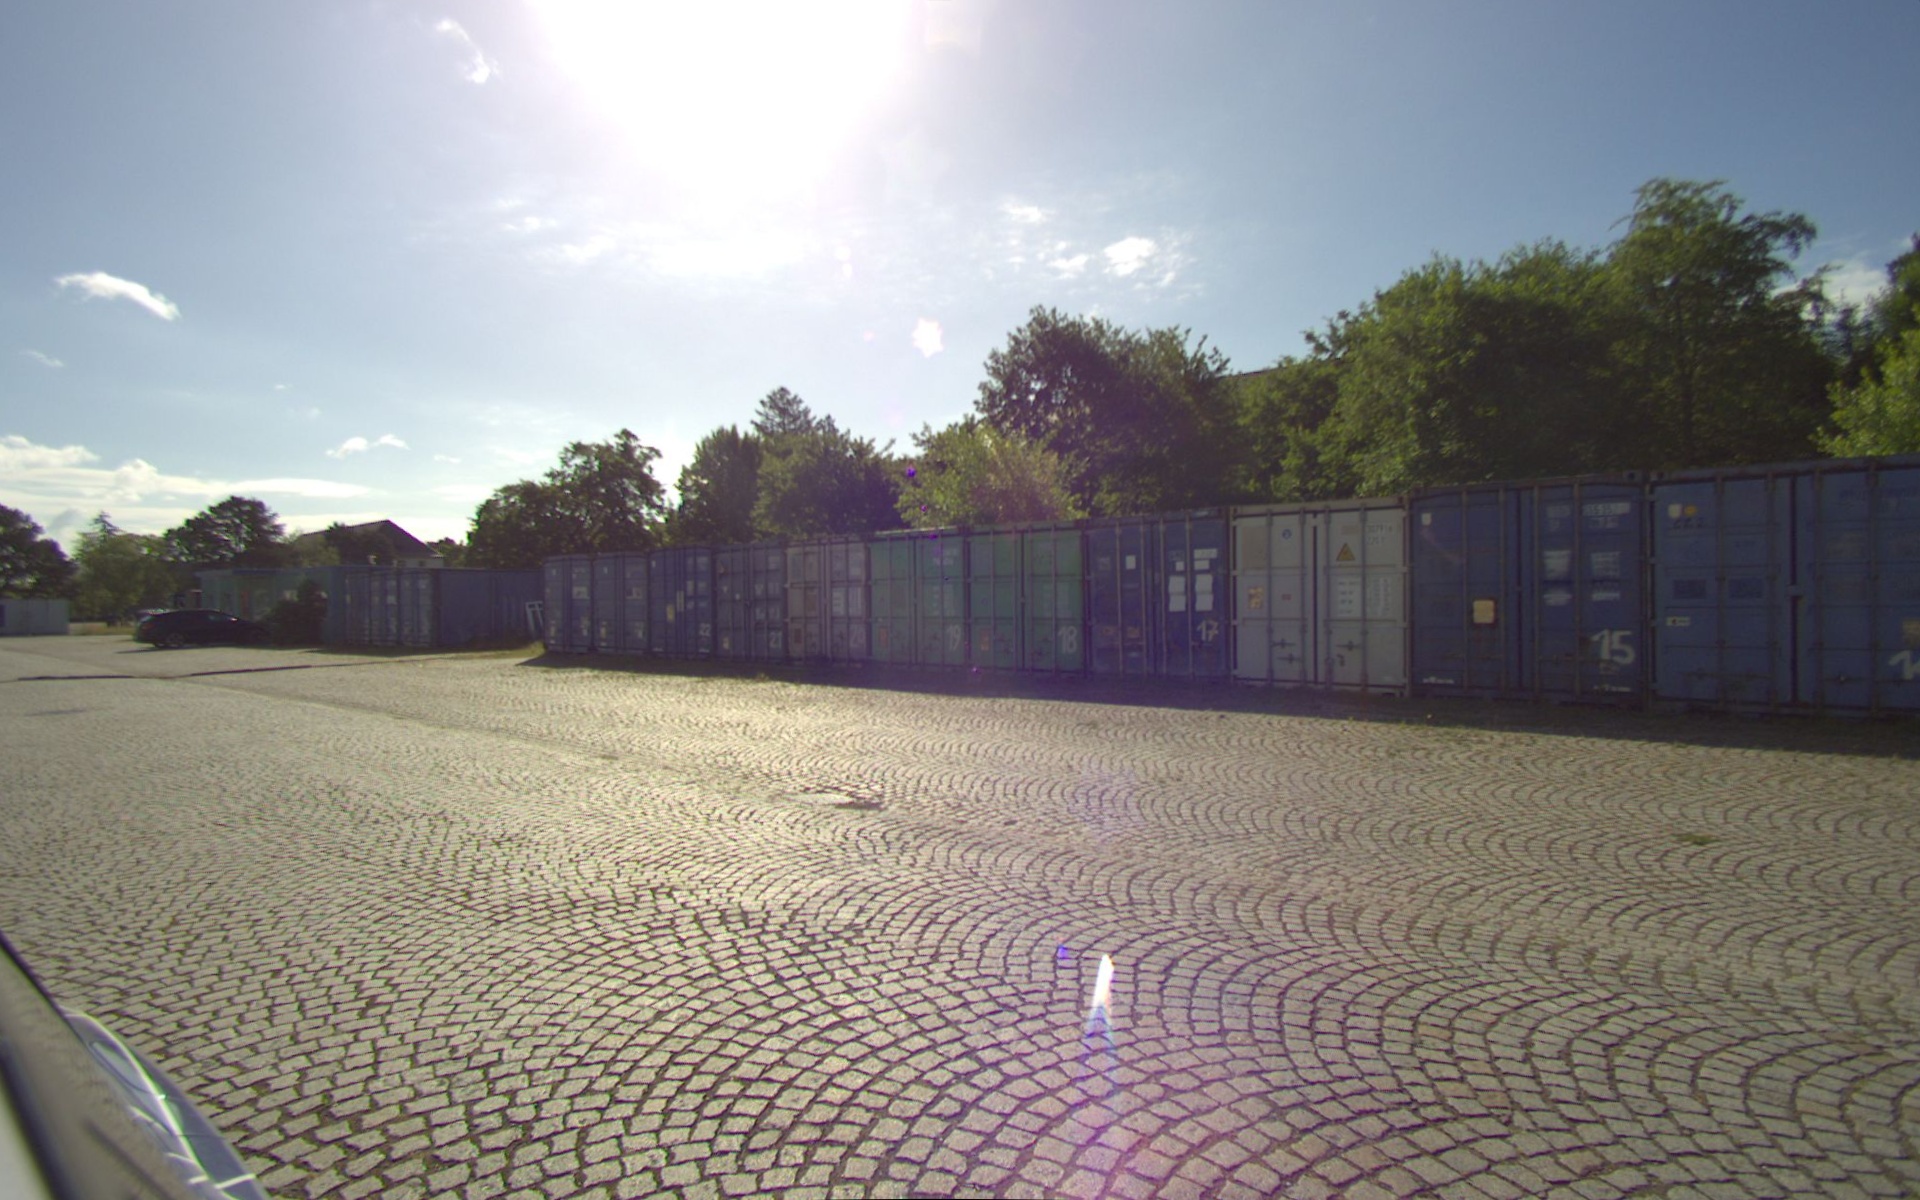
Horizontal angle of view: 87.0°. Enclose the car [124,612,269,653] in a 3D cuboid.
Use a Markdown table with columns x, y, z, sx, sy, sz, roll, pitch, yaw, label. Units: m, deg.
| x | y | z | sx | sy | sz | roll | pitch | yaw | label |
| --- | --- | --- | --- | --- | --- | --- | --- | --- | --- |
| -29.290 | 1.193 | 38.902 | 1.998 | 1.306 | 4.062 | -1 | 2 | 39 | car |
